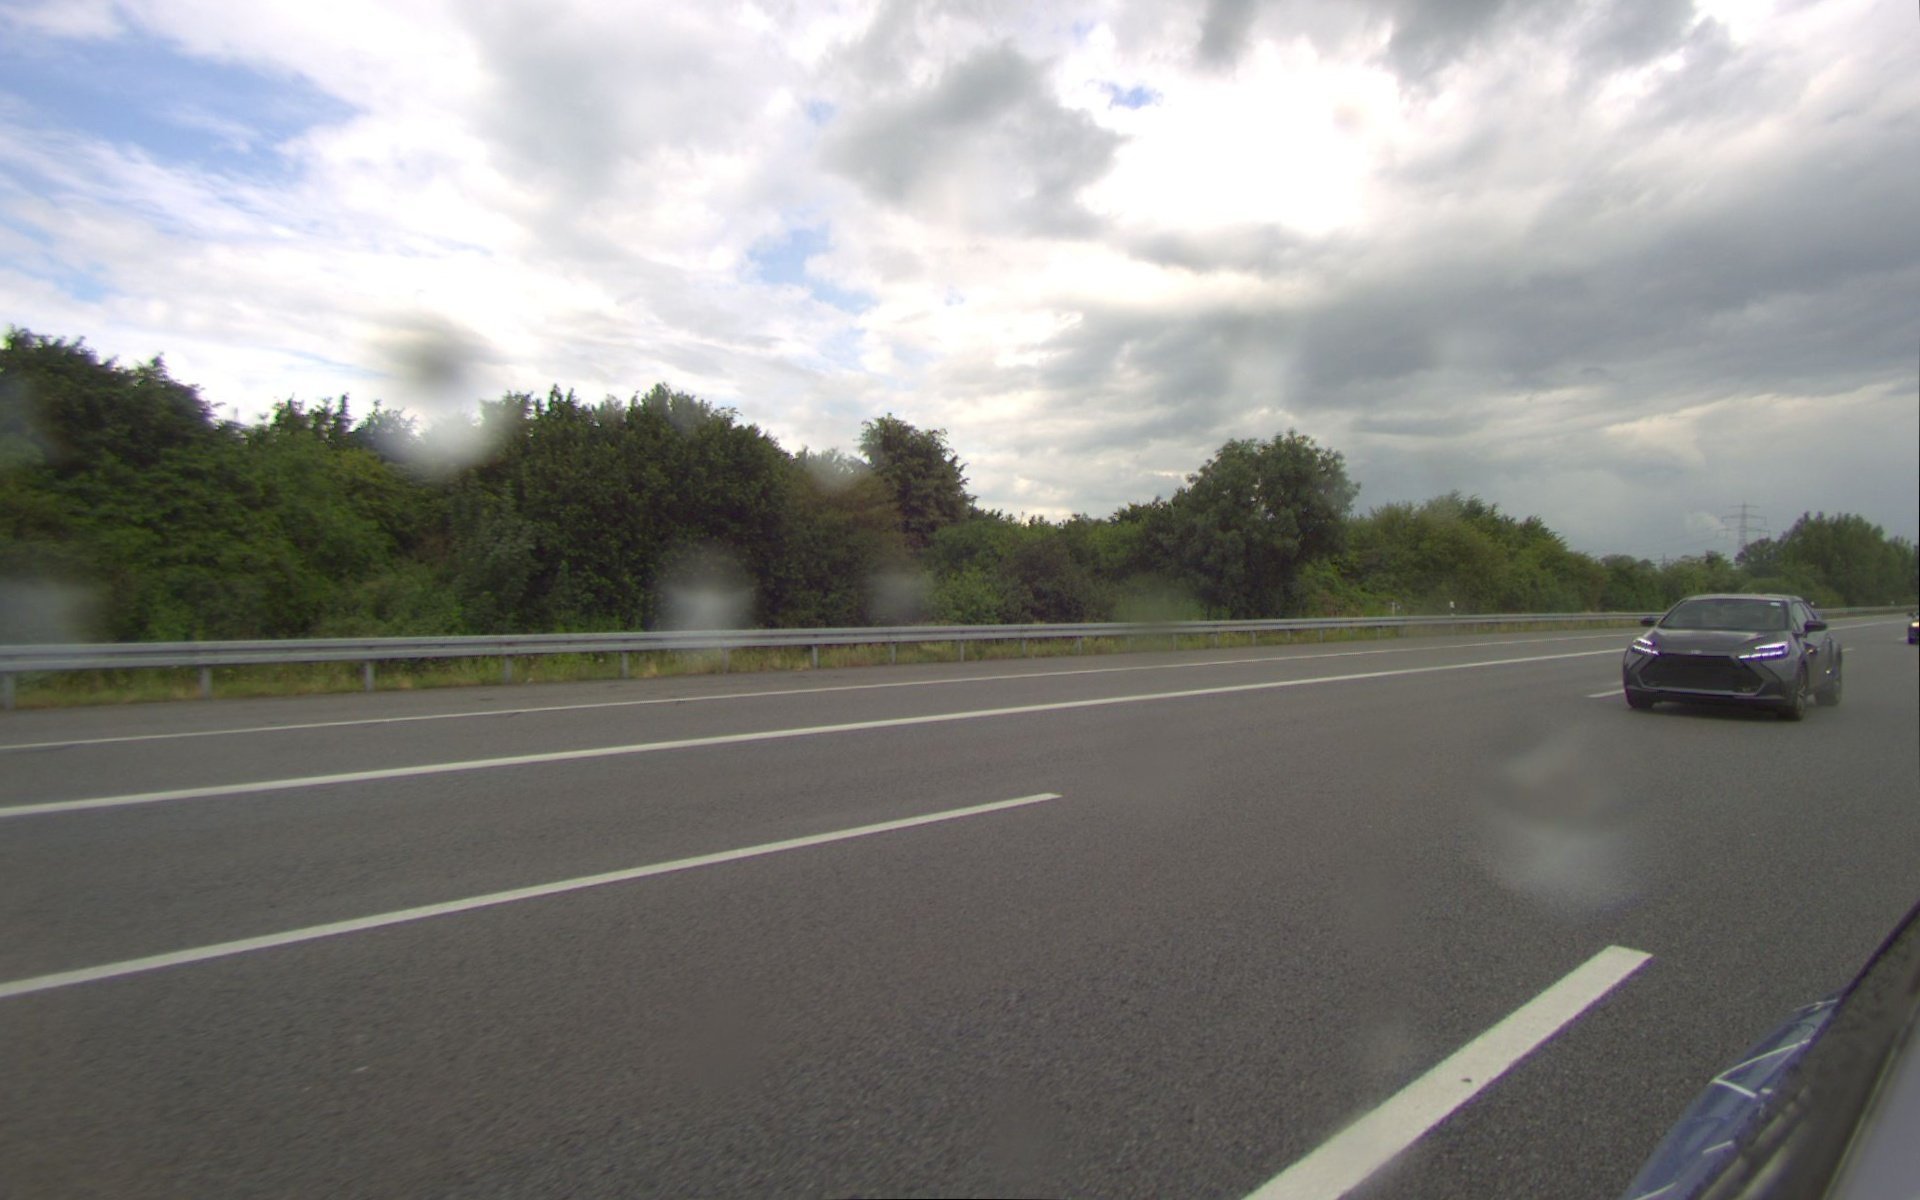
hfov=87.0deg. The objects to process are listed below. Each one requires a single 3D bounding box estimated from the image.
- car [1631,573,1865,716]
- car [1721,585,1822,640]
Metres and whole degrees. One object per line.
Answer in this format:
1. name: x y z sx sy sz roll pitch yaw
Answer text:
1. car: 10.847 0.493 13.799 4.519 1.633 1.783 0 1 -42
2. car: 25.817 0.352 32.128 4.615 1.619 1.813 0 1 -42
